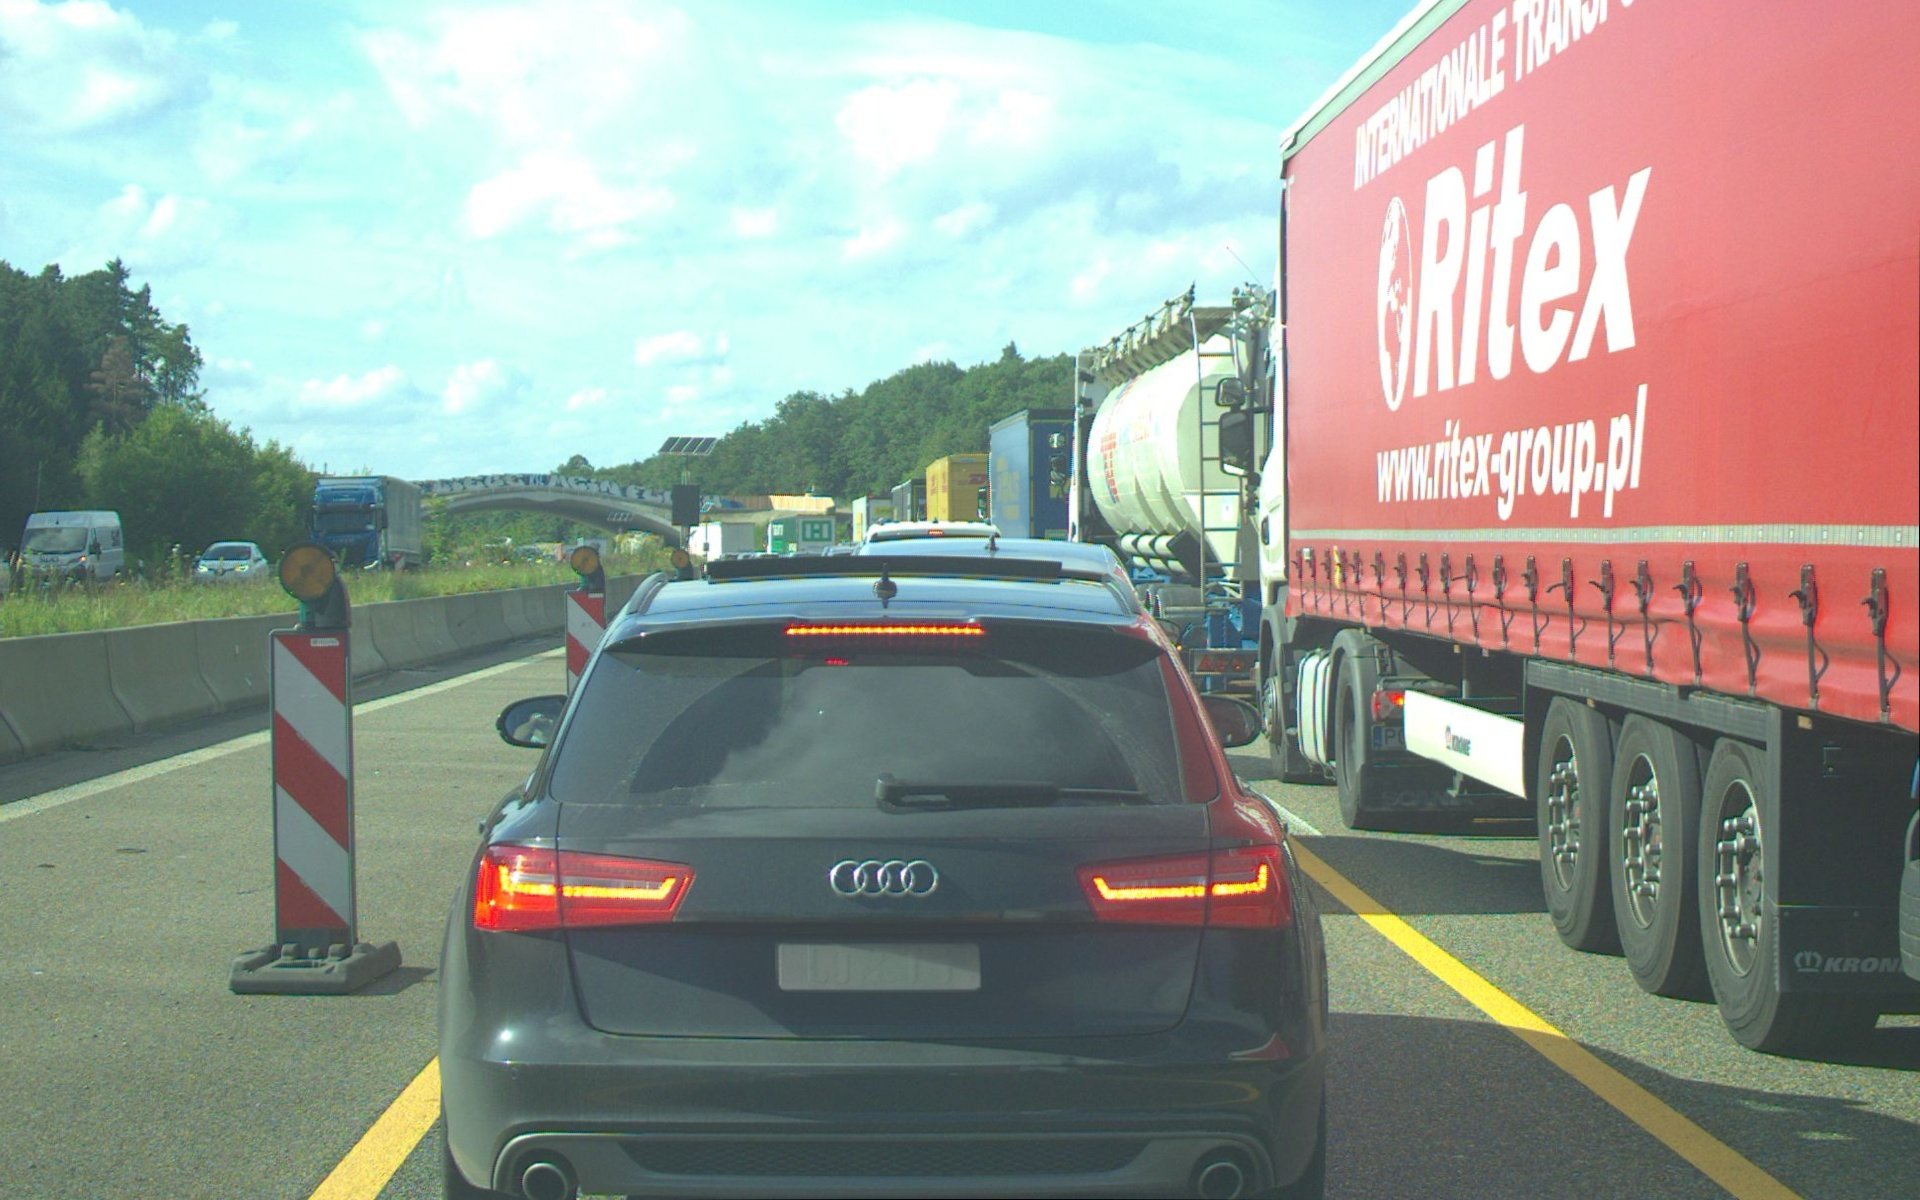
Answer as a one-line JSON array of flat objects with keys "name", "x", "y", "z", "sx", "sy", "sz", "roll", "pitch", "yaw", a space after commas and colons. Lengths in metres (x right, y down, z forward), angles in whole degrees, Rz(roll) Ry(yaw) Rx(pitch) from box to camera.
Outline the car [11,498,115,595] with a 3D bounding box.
[{"name": "car", "x": -25.385, "y": -1.499, "z": 97.436, "sx": 2.250, "sy": 2.634, "sz": 5.021, "roll": 1, "pitch": 0, "yaw": -8}]

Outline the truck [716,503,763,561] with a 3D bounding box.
[{"name": "truck", "x": -16.526, "y": -5.082, "z": 256.989, "sx": 3.303, "sy": 4.160, "sz": 9.704, "roll": 1, "pitch": 1, "yaw": -5}]

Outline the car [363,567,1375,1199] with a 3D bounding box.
[{"name": "car", "x": -0.188, "y": 0.657, "z": 8.305, "sx": 1.848, "sy": 1.458, "sz": 4.000, "roll": 0, "pitch": 0, "yaw": -1}]

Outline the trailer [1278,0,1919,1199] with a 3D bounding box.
[{"name": "trailer", "x": 3.410, "y": -0.712, "z": 13.687, "sx": 2.699, "sy": 3.955, "sz": 13.418, "roll": 1, "pitch": 1, "yaw": -1}]

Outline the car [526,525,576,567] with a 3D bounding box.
[{"name": "car", "x": -19.237, "y": -2.526, "z": 161.932, "sx": 1.993, "sy": 1.941, "sz": 4.000, "roll": 1, "pitch": 0, "yaw": -2}]

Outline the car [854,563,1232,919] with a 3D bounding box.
[{"name": "car", "x": 0.323, "y": 0.562, "z": 15.700, "sx": 1.524, "sy": 1.434, "sz": 3.285, "roll": 1, "pitch": 0, "yaw": -1}]

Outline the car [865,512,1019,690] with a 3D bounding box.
[{"name": "car", "x": -0.205, "y": -0.005, "z": 37.442, "sx": 1.581, "sy": 1.830, "sz": 3.112, "roll": 1, "pitch": 0, "yaw": -1}]

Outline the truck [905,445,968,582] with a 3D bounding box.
[{"name": "truck", "x": -0.920, "y": -3.175, "z": 127.955, "sx": 1.993, "sy": 4.897, "sz": 9.563, "roll": 1, "pitch": 1, "yaw": -2}]

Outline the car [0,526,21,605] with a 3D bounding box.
[{"name": "car", "x": -25.471, "y": -0.899, "z": 87.580, "sx": 1.993, "sy": 2.007, "sz": 4.000, "roll": 1, "pitch": 0, "yaw": -1}]

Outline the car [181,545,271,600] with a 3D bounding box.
[{"name": "car", "x": -21.235, "y": -0.795, "z": 99.596, "sx": 1.787, "sy": 1.555, "sz": 4.000, "roll": 1, "pitch": 0, "yaw": -1}]

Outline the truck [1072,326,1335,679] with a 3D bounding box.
[{"name": "truck", "x": 2.855, "y": -1.131, "z": 41.824, "sx": 2.659, "sy": 3.958, "sz": 5.779, "roll": 1, "pitch": 0, "yaw": -1}]

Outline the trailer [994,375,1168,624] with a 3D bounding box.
[{"name": "trailer", "x": 2.208, "y": -1.844, "z": 66.581, "sx": 2.805, "sy": 4.398, "sz": 10.433, "roll": 1, "pitch": 0, "yaw": -1}]

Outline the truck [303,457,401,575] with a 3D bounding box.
[{"name": "truck", "x": -22.199, "y": -3.046, "z": 125.822, "sx": 2.637, "sy": 4.175, "sz": 5.468, "roll": 1, "pitch": 1, "yaw": -1}]

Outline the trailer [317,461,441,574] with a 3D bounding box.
[{"name": "trailer", "x": -22.284, "y": -3.141, "z": 132.555, "sx": 2.619, "sy": 4.127, "sz": 13.373, "roll": 1, "pitch": 1, "yaw": -1}]

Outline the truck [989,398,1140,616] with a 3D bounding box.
[{"name": "truck", "x": 2.135, "y": -1.910, "z": 73.216, "sx": 2.806, "sy": 4.354, "sz": 7.792, "roll": 1, "pitch": 0, "yaw": -1}]

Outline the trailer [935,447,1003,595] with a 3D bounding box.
[{"name": "trailer", "x": 0.223, "y": -2.125, "z": 94.618, "sx": 1.616, "sy": 3.905, "sz": 6.490, "roll": 1, "pitch": 0, "yaw": -1}]

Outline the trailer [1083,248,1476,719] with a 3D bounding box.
[{"name": "trailer", "x": 2.919, "y": -1.067, "z": 35.295, "sx": 2.644, "sy": 3.929, "sz": 12.598, "roll": 1, "pitch": 1, "yaw": -1}]

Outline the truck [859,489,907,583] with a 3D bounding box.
[{"name": "truck", "x": -3.562, "y": -2.940, "z": 160.298, "sx": 2.137, "sy": 4.243, "sz": 7.072, "roll": 1, "pitch": 0, "yaw": -1}]

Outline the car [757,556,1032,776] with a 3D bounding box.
[{"name": "car", "x": -0.442, "y": 0.413, "z": 23.984, "sx": 1.751, "sy": 1.392, "sz": 3.608, "roll": 1, "pitch": 0, "yaw": -1}]

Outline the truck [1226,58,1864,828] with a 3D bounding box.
[{"name": "truck", "x": 3.246, "y": -0.857, "z": 20.629, "sx": 2.667, "sy": 3.946, "sz": 5.711, "roll": 1, "pitch": 1, "yaw": -1}]

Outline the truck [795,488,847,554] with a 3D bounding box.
[{"name": "truck", "x": -9.071, "y": -5.073, "z": 223.694, "sx": 3.304, "sy": 4.160, "sz": 9.703, "roll": 0, "pitch": 1, "yaw": -2}]
